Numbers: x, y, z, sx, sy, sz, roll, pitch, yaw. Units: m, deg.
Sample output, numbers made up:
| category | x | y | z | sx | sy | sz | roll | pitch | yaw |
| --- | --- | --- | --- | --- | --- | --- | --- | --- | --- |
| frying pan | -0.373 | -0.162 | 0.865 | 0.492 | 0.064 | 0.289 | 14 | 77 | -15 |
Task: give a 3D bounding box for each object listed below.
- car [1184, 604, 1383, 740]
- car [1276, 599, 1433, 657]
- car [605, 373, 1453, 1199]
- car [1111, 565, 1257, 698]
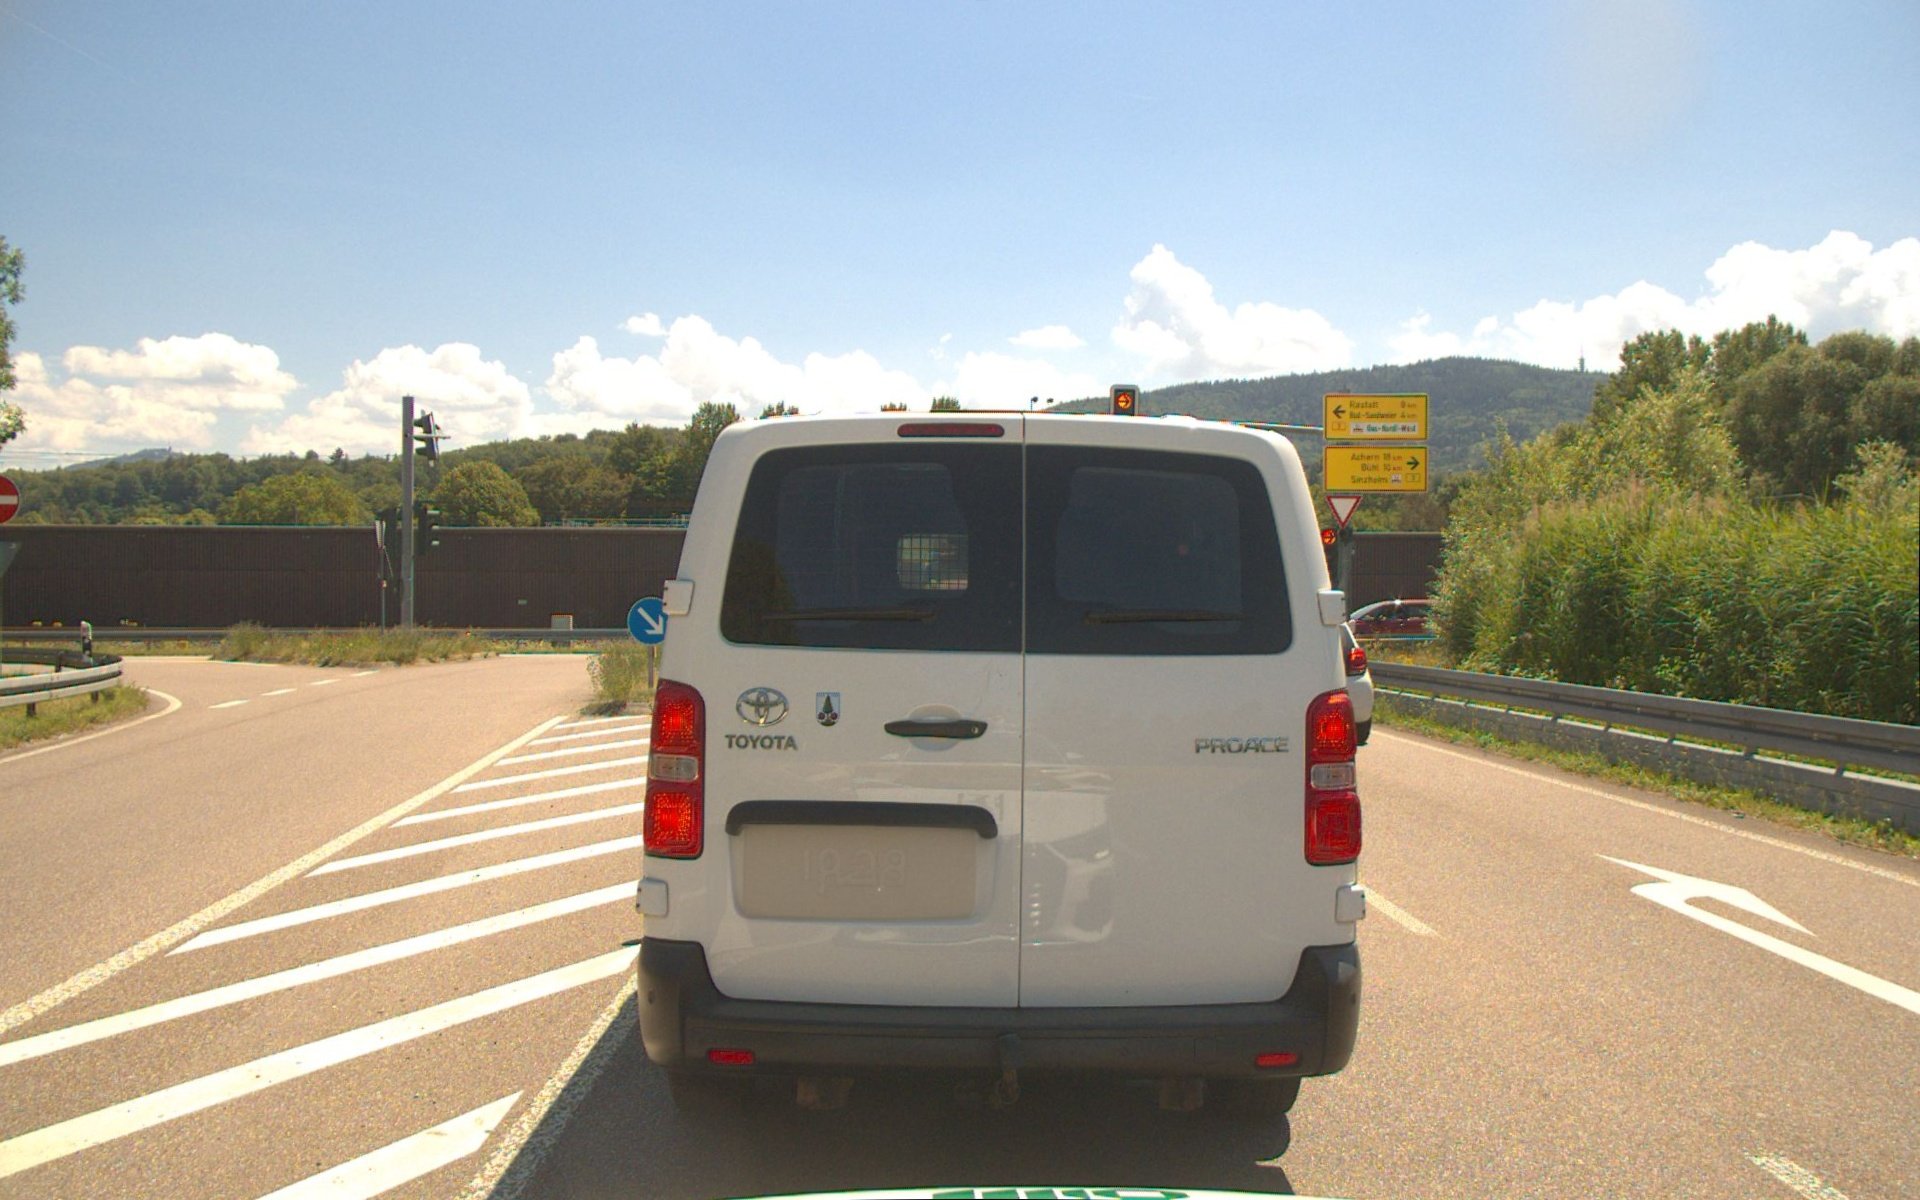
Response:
| category | x | y | z | sx | sy | sz | roll | pitch | yaw |
| --- | --- | --- | --- | --- | --- | --- | --- | --- | --- |
| car | 3.747 | 0.787 | 19.653 | 1.622 | 1.456 | 3.364 | 1 | 0 | -1 |
| car | 11.891 | 0.840 | 49.986 | 4.225 | 1.685 | 1.998 | 0 | 0 | -4 |
| car | 0.116 | 0.483 | 5.643 | 1.848 | 1.919 | 3.999 | 1 | 0 | -1 |
| car | 3.714 | 0.499 | 28.243 | 1.889 | 2.035 | 4.838 | 1 | 0 | 1 |
